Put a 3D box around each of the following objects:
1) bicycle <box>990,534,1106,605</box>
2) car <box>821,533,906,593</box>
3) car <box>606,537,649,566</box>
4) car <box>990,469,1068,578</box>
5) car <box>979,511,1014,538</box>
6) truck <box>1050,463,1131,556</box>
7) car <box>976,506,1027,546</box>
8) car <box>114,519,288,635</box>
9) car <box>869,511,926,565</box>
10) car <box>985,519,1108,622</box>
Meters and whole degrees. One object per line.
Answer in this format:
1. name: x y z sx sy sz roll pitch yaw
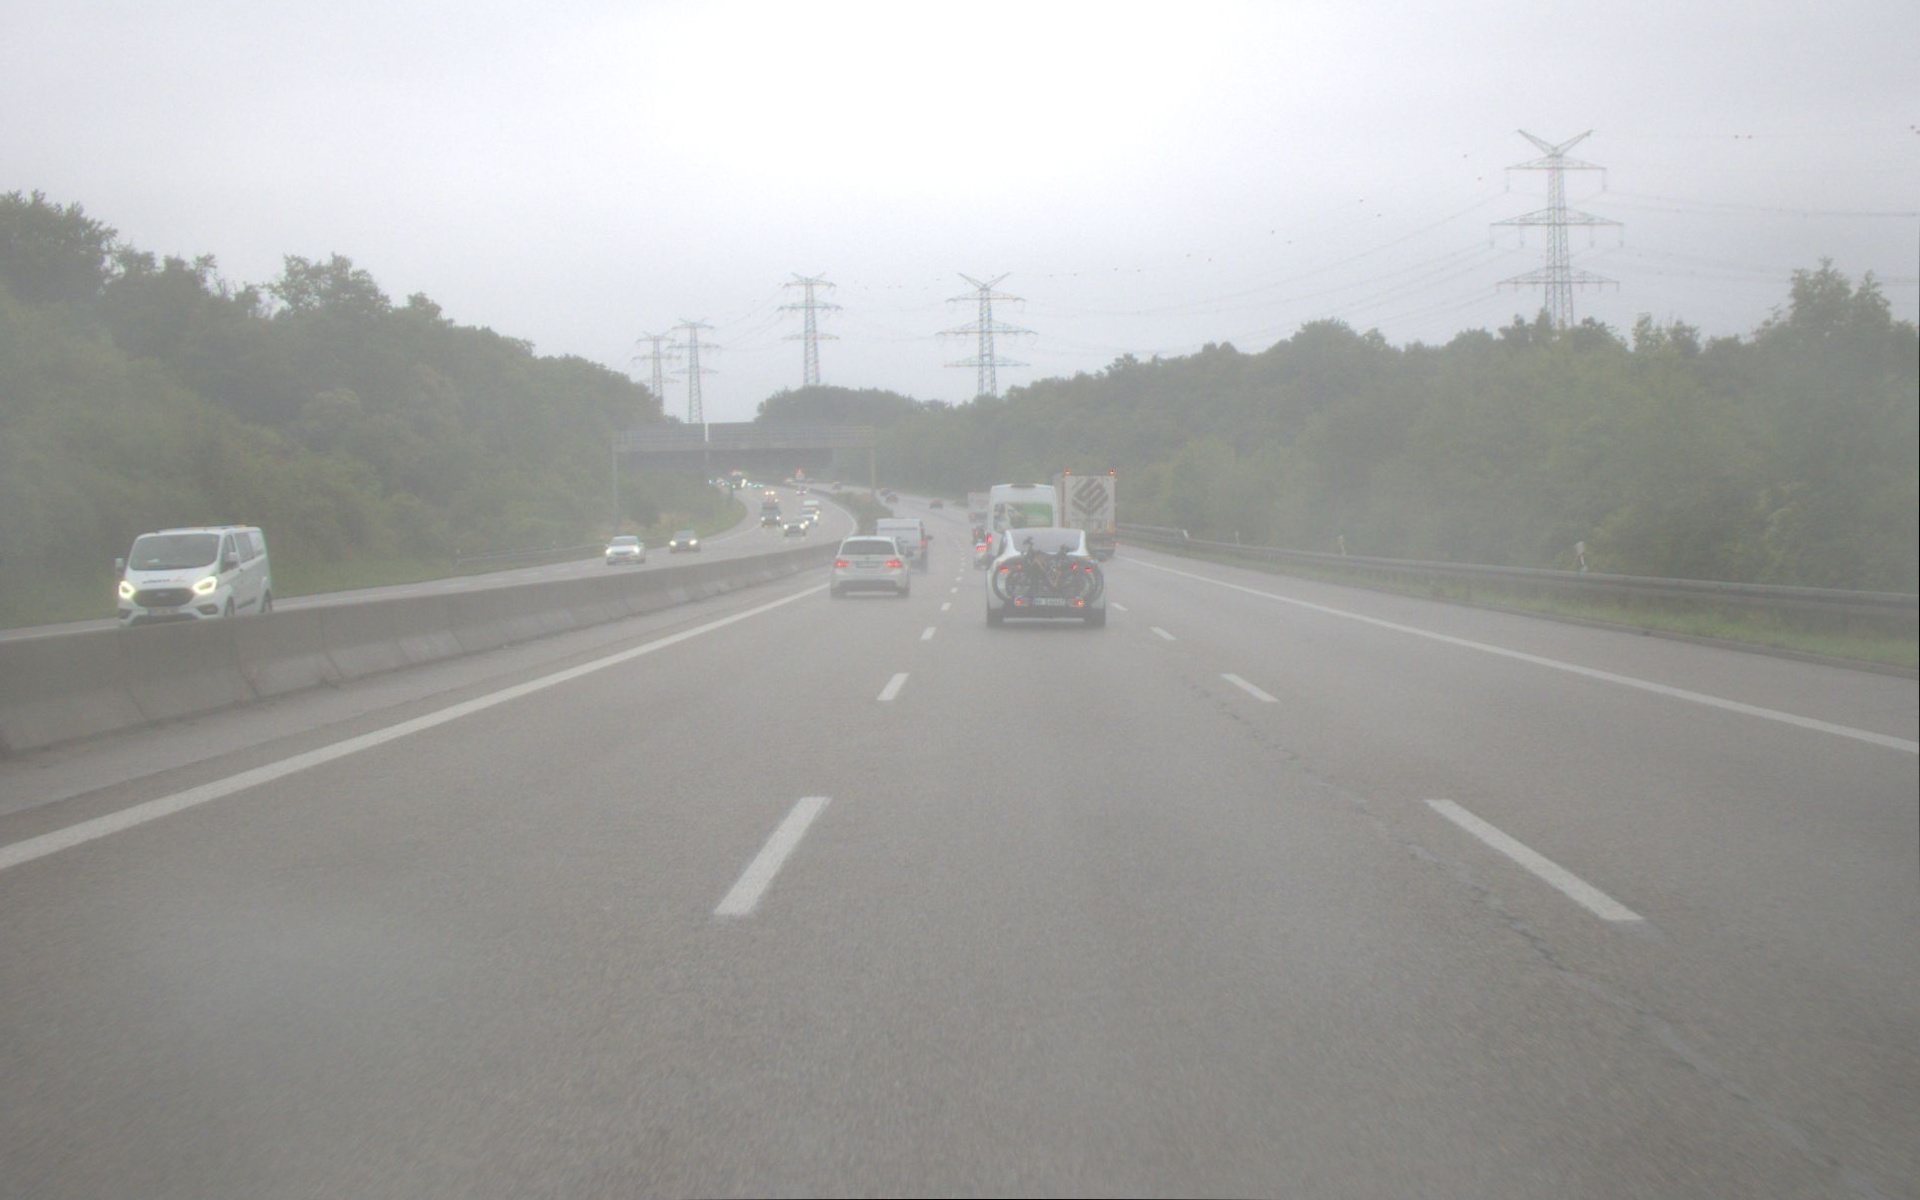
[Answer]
1. bicycle: 1.362 -0.479 53.446 1.753 1.087 0.914 0 1 -1
2. car: -2.188 -0.864 79.234 1.866 1.284 4.000 -2 1 -1
3. car: -17.410 -2.562 180.307 1.797 1.445 4.629 -2 1 0
4. car: 1.878 -2.083 93.758 1.993 2.854 4.000 -2 1 1
5. car: 2.245 -4.654 212.498 1.993 1.568 4.000 -2 1 -1
6. truck: 6.262 -4.441 167.504 3.603 4.317 13.200 0 2 1
7. car: 1.508 -2.721 126.210 1.857 1.417 4.001 0 2 0
8. car: -14.024 -0.459 63.849 1.993 2.007 5.762 -2 1 -1
9. car: -2.112 -2.078 116.629 1.846 1.766 4.000 1 0 -1
10. car: 1.369 -0.522 56.393 1.860 1.562 4.964 0 2 0
